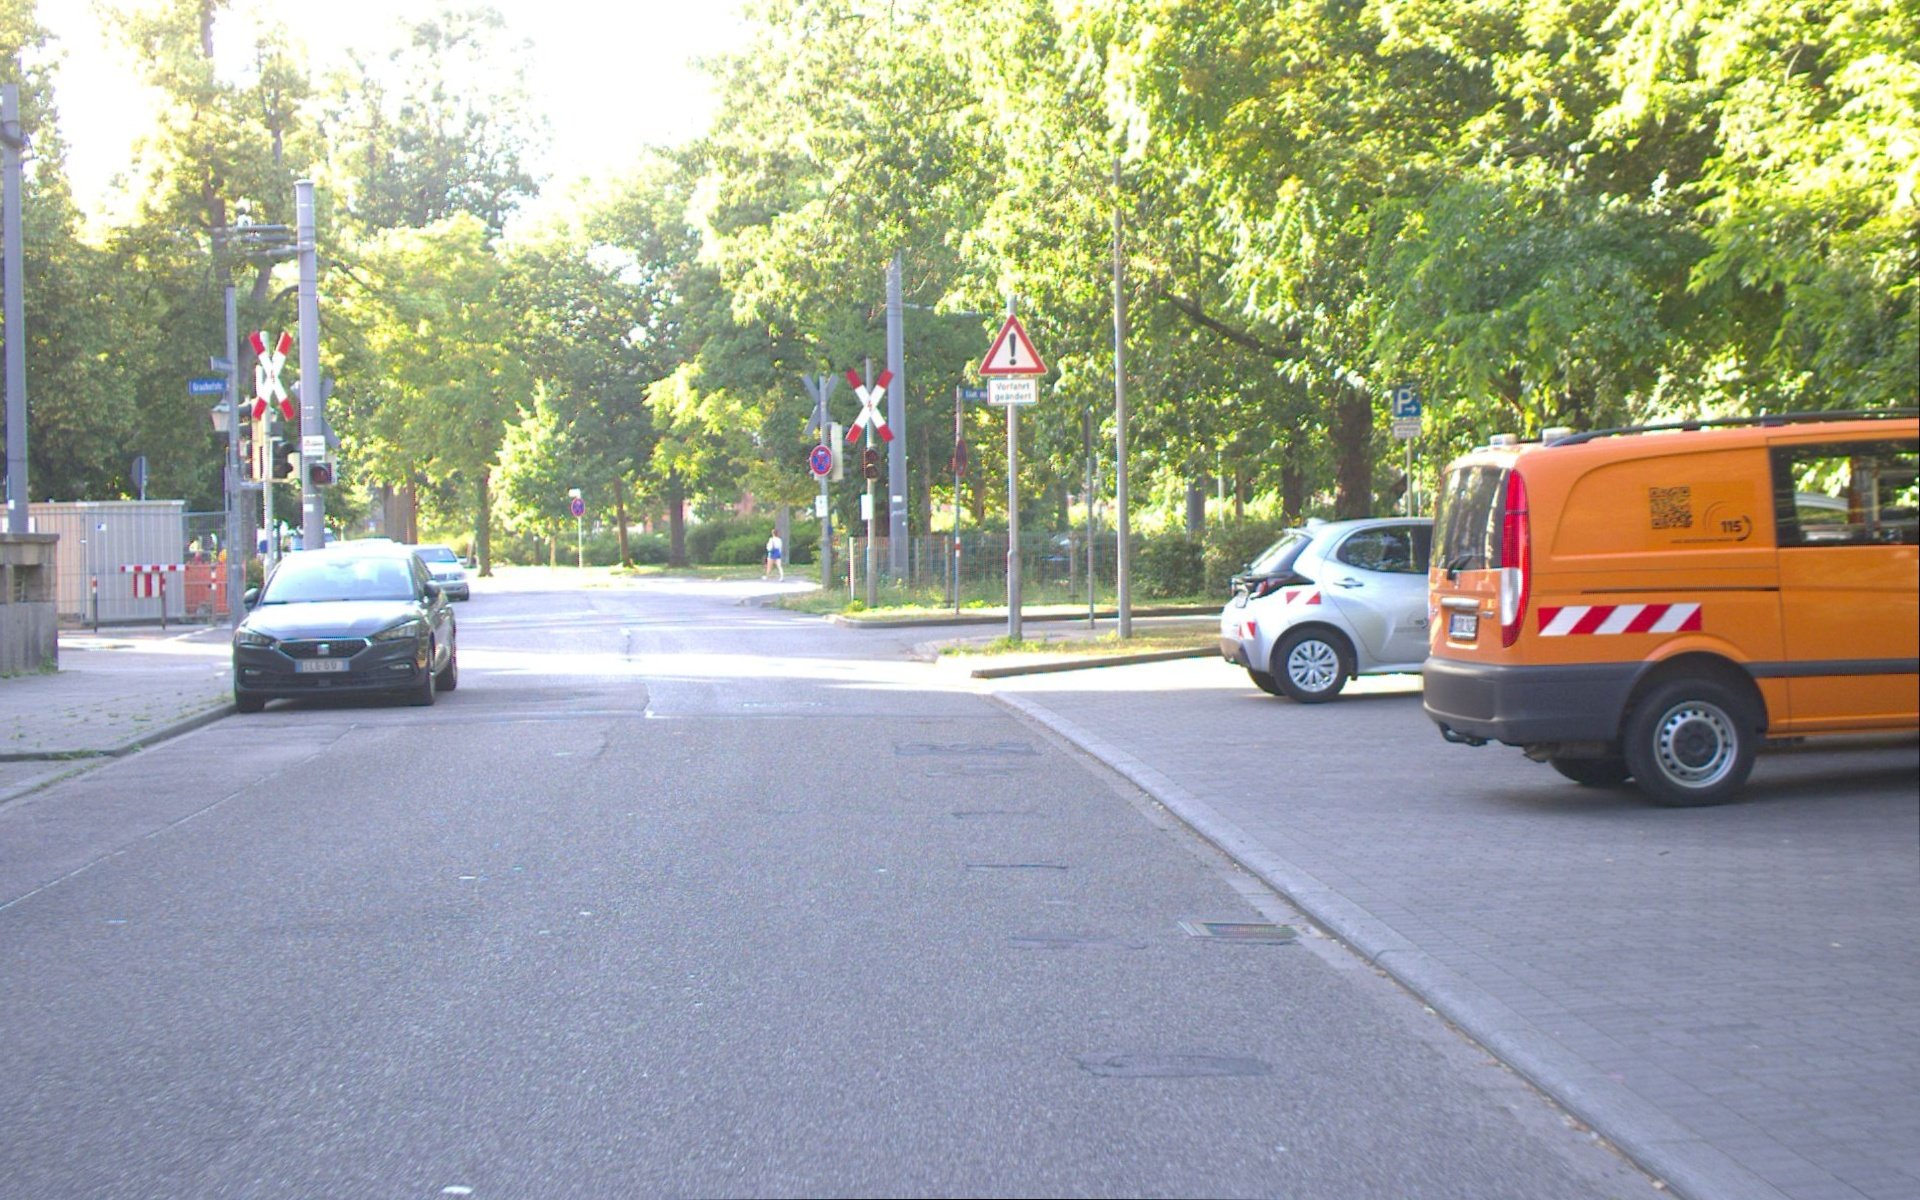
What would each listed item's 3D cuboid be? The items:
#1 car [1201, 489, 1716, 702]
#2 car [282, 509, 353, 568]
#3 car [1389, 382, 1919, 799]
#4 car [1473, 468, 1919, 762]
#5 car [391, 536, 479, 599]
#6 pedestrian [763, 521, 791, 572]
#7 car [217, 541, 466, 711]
[{"bbox_3d":[4.127,-0.058,28.874,3.987,1.541,1.735,-3,1,-1],"label":"car"},{"bbox_3d":[-22.139,-2.124,118.297,1.850,1.939,4.842,-1,1,-17],"label":"car"},{"bbox_3d":[4.944,-0.141,18.523,4.794,1.991,2.081,-3,1,-6],"label":"car"},{"bbox_3d":[5.051,0.042,21.249,3.396,1.626,1.680,-3,1,-2],"label":"car"},{"bbox_3d":[-13.083,-0.821,85.480,1.779,1.411,4.499,-3,2,-13],"label":"car"},{"bbox_3d":[-5.612,-1.647,105.673,0.773,1.569,0.768,-1,1,-7],"label":"pedestrian"},{"bbox_3d":[-5.743,0.193,32.359,1.743,1.443,4.209,-1,1,-3],"label":"car"}]
